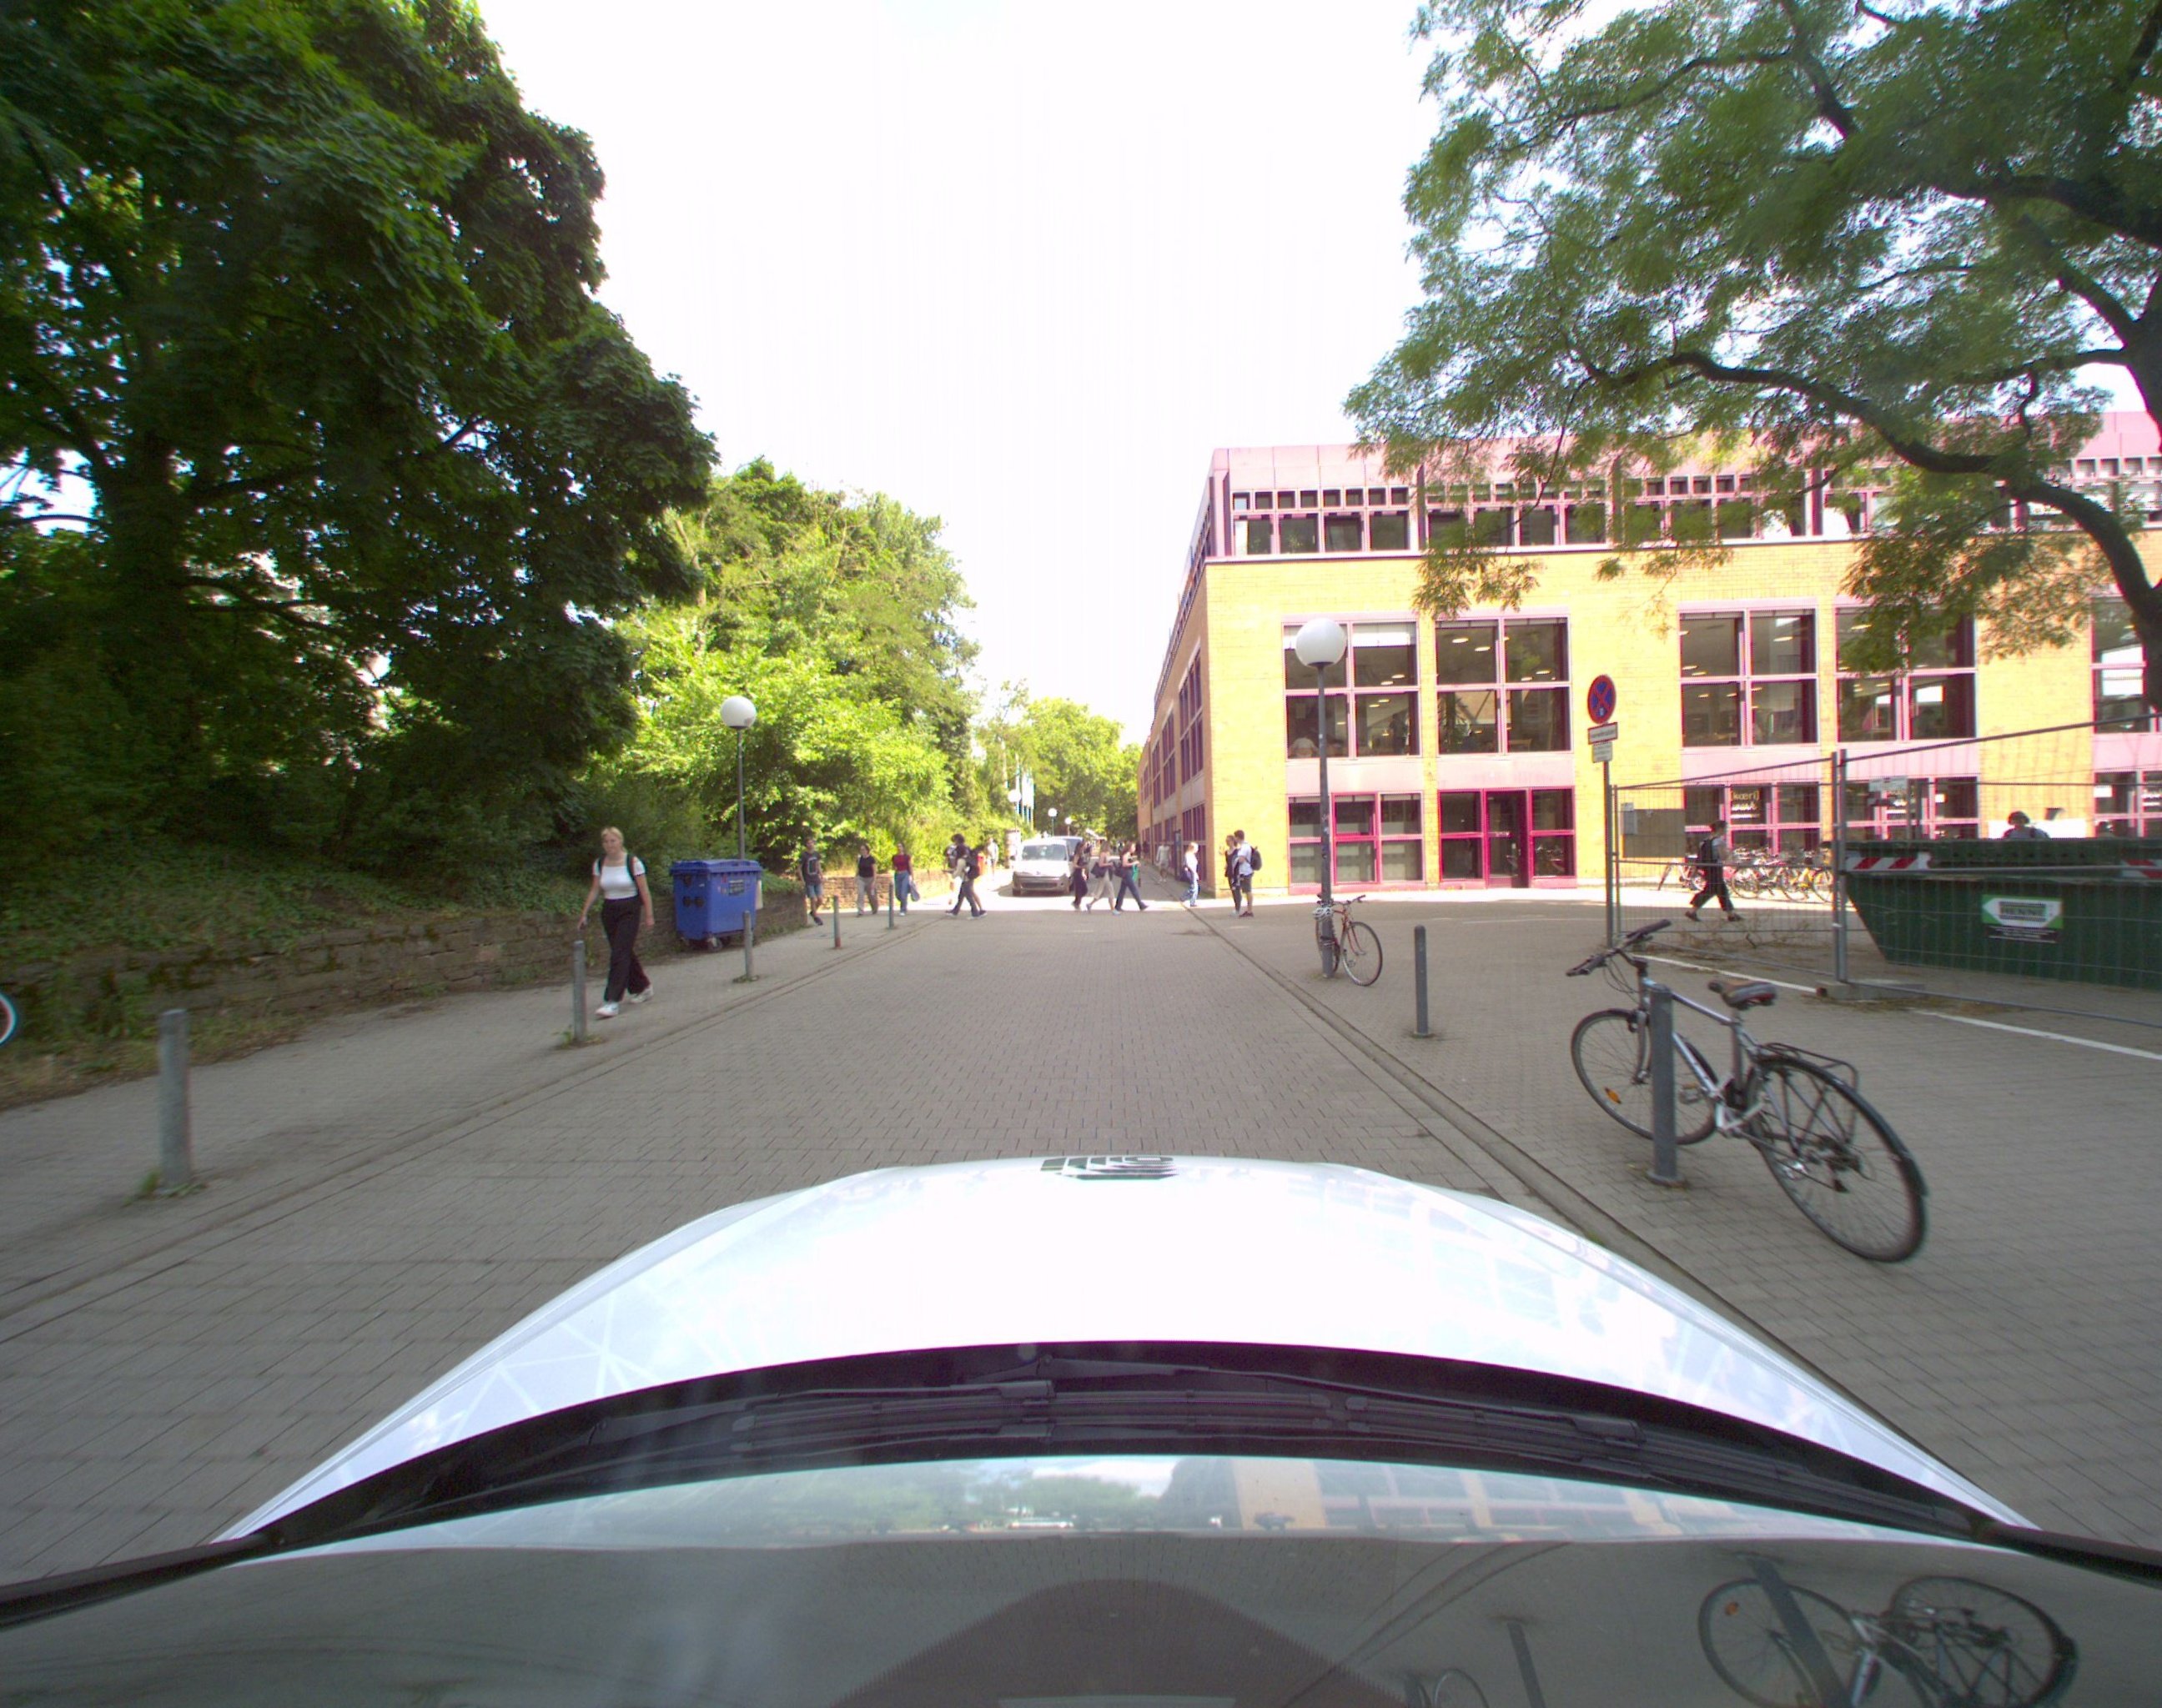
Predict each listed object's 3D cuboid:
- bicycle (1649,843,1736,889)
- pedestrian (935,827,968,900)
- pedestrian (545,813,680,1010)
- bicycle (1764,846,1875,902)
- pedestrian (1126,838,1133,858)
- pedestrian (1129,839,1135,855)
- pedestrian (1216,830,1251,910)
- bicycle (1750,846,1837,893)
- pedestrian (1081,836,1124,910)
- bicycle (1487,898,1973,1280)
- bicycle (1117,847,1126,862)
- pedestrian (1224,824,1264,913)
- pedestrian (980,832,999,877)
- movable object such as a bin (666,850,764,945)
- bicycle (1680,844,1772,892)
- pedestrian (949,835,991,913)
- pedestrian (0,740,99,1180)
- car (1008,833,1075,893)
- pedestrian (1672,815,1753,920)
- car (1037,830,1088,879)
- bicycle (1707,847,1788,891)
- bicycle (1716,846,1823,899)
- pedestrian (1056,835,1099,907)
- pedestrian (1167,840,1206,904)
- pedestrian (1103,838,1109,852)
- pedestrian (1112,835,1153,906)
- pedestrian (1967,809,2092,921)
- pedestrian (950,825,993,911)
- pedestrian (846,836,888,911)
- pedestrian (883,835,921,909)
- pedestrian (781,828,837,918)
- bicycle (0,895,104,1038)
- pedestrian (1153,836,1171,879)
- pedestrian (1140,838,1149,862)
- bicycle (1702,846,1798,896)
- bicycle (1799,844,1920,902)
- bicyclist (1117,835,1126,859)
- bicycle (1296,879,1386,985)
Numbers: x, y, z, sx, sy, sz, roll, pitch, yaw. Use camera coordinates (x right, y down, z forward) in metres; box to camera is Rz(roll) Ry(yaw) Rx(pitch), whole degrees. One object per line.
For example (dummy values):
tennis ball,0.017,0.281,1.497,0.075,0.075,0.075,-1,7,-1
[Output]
bicycle,15.505,0.299,20.659,1.803,1.110,0.524,1,0,0
pedestrian,-3.340,0.243,21.114,0.680,1.844,0.783,1,0,2
pedestrian,-4.354,0.501,7.643,0.680,1.728,1.001,0,0,-2
bicycle,15.366,0.406,16.966,1.803,1.110,0.524,1,0,1
pedestrian,4.240,-0.511,70.611,0.584,1.672,0.818,-1,-1,3
pedestrian,6.270,-0.854,99.962,0.650,1.922,0.818,-1,-1,3
pedestrian,3.264,0.349,17.450,0.692,1.672,0.590,-1,-1,9
bicycle,17.580,0.388,20.108,1.802,1.110,0.473,1,0,-4
pedestrian,0.500,0.426,18.598,0.881,1.672,0.560,1,0,9
bicycle,2.488,0.789,3.452,0.705,1.093,1.749,0,1,2
bicycle,2.967,0.021,59.664,0.585,1.083,1.907,0,1,-1
pedestrian,3.342,0.296,16.756,0.762,1.794,0.590,-1,-1,9
pedestrian,-3.852,0.021,34.361,0.680,1.844,0.783,1,0,2
movable object such as a bin,-5.537,0.622,12.389,0.704,1.336,1.243,3,1,12
bicycle,15.666,0.344,19.803,1.803,1.110,0.524,1,0,1
pedestrian,-2.353,0.416,17.338,0.778,1.620,0.684,1,0,-1
pedestrian,-4.973,0.450,3.263,0.722,1.881,1.081,1,0,-3
car,-1.193,0.230,26.371,1.783,1.761,4.484,0,1,2
pedestrian,10.167,0.210,13.133,0.847,1.651,0.590,1,0,9
car,-0.730,-0.029,35.457,1.876,1.974,5.218,0,1,2
bicycle,17.514,0.396,21.397,1.802,1.110,0.473,1,0,-4
bicycle,15.040,0.396,17.816,1.800,1.110,0.524,1,0,5
pedestrian,-0.070,0.405,19.515,0.881,1.672,0.645,-2,1,9
pedestrian,2.599,0.428,20.045,0.881,1.542,0.745,-1,1,9
pedestrian,3.279,-1.152,104.985,0.722,1.672,0.749,-1,-1,3
pedestrian,1.221,0.400,19.543,0.926,1.672,0.588,-1,-1,-2
pedestrian,14.359,0.158,12.355,1.038,1.651,0.705,1,0,9
pedestrian,-2.411,0.309,18.023,0.823,1.844,0.684,1,0,-1
pedestrian,-4.815,0.428,18.363,0.681,1.620,0.978,1,0,-3
pedestrian,-4.032,0.401,18.389,0.681,1.620,0.913,1,0,-3
pedestrian,-5.467,0.370,16.375,0.688,1.728,1.008,1,-1,-43
bicycle,-7.326,0.730,4.935,0.418,0.910,1.748,0,-1,17
pedestrian,3.344,0.145,33.519,0.680,1.747,0.783,1,0,2
pedestrian,4.432,-0.272,56.963,0.584,1.672,0.699,-1,-1,3
bicycle,15.386,0.387,18.743,1.804,1.110,0.523,1,0,-1
bicycle,15.549,0.367,16.299,1.800,1.110,0.524,1,0,5
bicyclist,2.966,-0.509,59.675,0.585,1.716,0.665,0,0,-1
bicycle,2.820,0.806,8.983,0.449,0.962,1.741,-3,0,2
